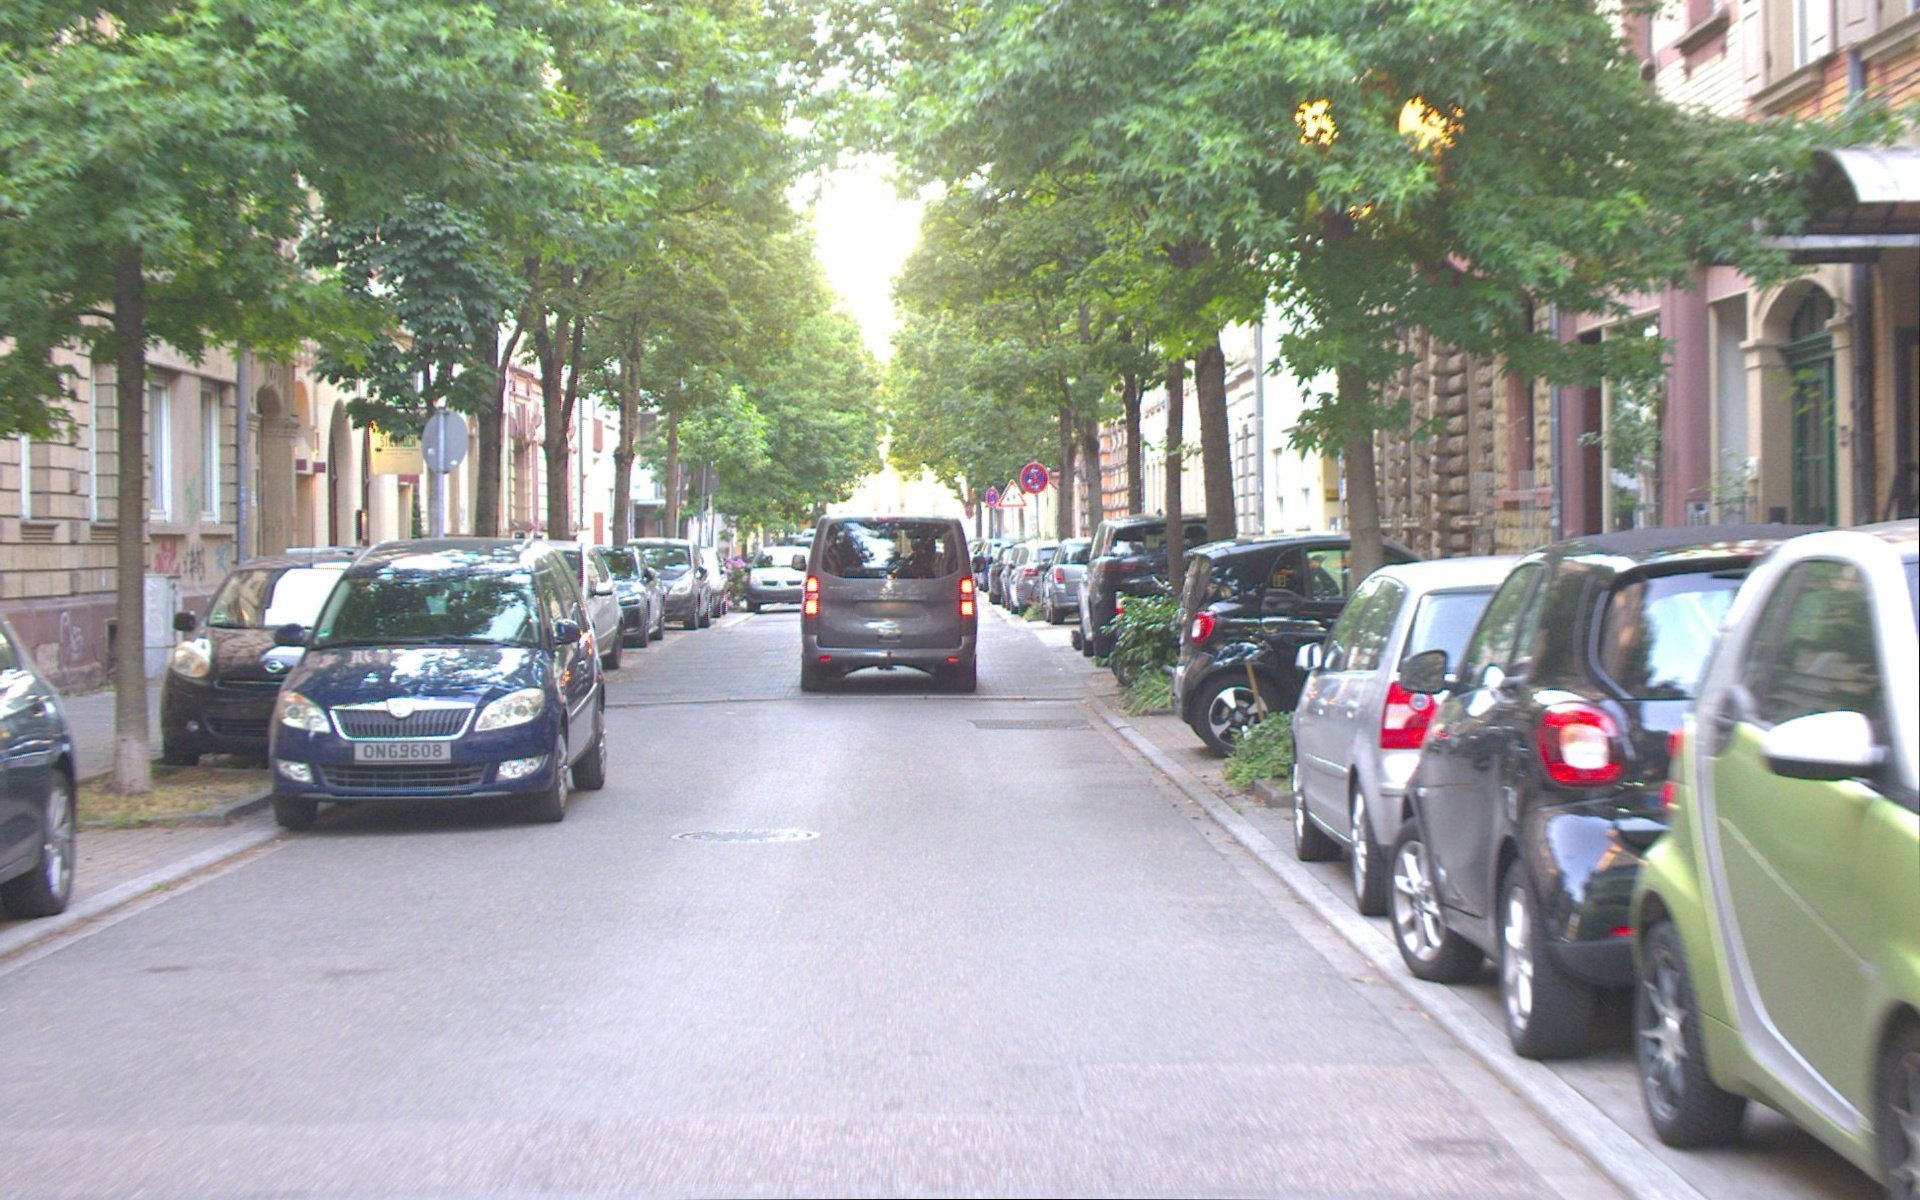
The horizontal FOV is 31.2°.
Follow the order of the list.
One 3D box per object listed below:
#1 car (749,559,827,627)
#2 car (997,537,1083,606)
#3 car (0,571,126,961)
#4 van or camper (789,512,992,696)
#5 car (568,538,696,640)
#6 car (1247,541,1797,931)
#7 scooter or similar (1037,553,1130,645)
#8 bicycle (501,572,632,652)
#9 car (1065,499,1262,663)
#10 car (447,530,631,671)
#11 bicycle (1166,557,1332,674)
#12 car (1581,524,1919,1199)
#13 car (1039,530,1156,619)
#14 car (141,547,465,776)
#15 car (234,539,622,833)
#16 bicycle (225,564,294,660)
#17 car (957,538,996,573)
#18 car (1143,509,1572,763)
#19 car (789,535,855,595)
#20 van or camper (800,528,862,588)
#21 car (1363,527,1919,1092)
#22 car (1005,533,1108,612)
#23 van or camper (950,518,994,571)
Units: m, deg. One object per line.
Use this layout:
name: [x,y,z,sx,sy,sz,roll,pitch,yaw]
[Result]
car: [-3.787,-0.167,76.057,1.580,1.415,3.753,-1,1,-1]
car: [1.719,-0.644,74.918,1.635,1.419,3.565,-2,1,-2]
car: [-4.541,0.647,13.183,1.767,1.457,4.259,0,1,-2]
van or camper: [-0.699,0.011,37.645,2.035,1.891,4.271,0,1,1]
car: [-5.402,-0.215,57.082,1.706,1.575,4.078,1,1,0]
car: [2.367,0.496,15.468,1.733,1.486,4.104,-1,1,-1]
scooter or similar: [1.692,-0.017,46.924,0.675,1.186,1.113,-3,0,39]
bicycle: [-5.292,0.153,46.270,1.684,1.000,0.430,2,1,1]
car: [2.459,-0.272,42.693,2.013,1.827,4.811,-3,1,-1]
car: [-5.043,-0.034,41.610,1.676,1.602,3.861,0,1,1]
bicycle: [3.023,0.157,36.081,1.696,1.194,0.582,-1,1,3]
car: [2.493,0.598,7.705,1.464,1.546,2.918,-1,1,-4]
car: [2.376,-0.481,60.396,1.758,1.458,4.308,-1,1,-1]
car: [-4.617,0.378,24.614,1.691,1.496,3.712,1,1,-2]
car: [-3.093,0.429,20.758,1.723,1.568,4.220,-1,1,-1]
bicycle: [-8.504,0.132,41.786,0.461,1.086,1.629,2,2,0]
car: [0.726,-1.908,147.814,1.551,1.491,3.610,0,1,2]
car: [2.819,0.237,24.860,2.797,1.594,1.801,-4,1,0]
car: [-3.755,-0.975,93.348,1.663,1.558,4.001,-1,1,-4]
van or camper: [-4.088,-1.342,108.606,1.876,1.836,4.753,-1,1,-2]
car: [2.337,0.550,11.092,1.591,1.555,3.123,0,1,-2]
car: [1.912,-0.583,69.309,1.716,1.471,4.369,-2,1,-2]
van or camper: [0.567,-2.780,171.515,1.993,2.590,5.425,0,1,-2]
